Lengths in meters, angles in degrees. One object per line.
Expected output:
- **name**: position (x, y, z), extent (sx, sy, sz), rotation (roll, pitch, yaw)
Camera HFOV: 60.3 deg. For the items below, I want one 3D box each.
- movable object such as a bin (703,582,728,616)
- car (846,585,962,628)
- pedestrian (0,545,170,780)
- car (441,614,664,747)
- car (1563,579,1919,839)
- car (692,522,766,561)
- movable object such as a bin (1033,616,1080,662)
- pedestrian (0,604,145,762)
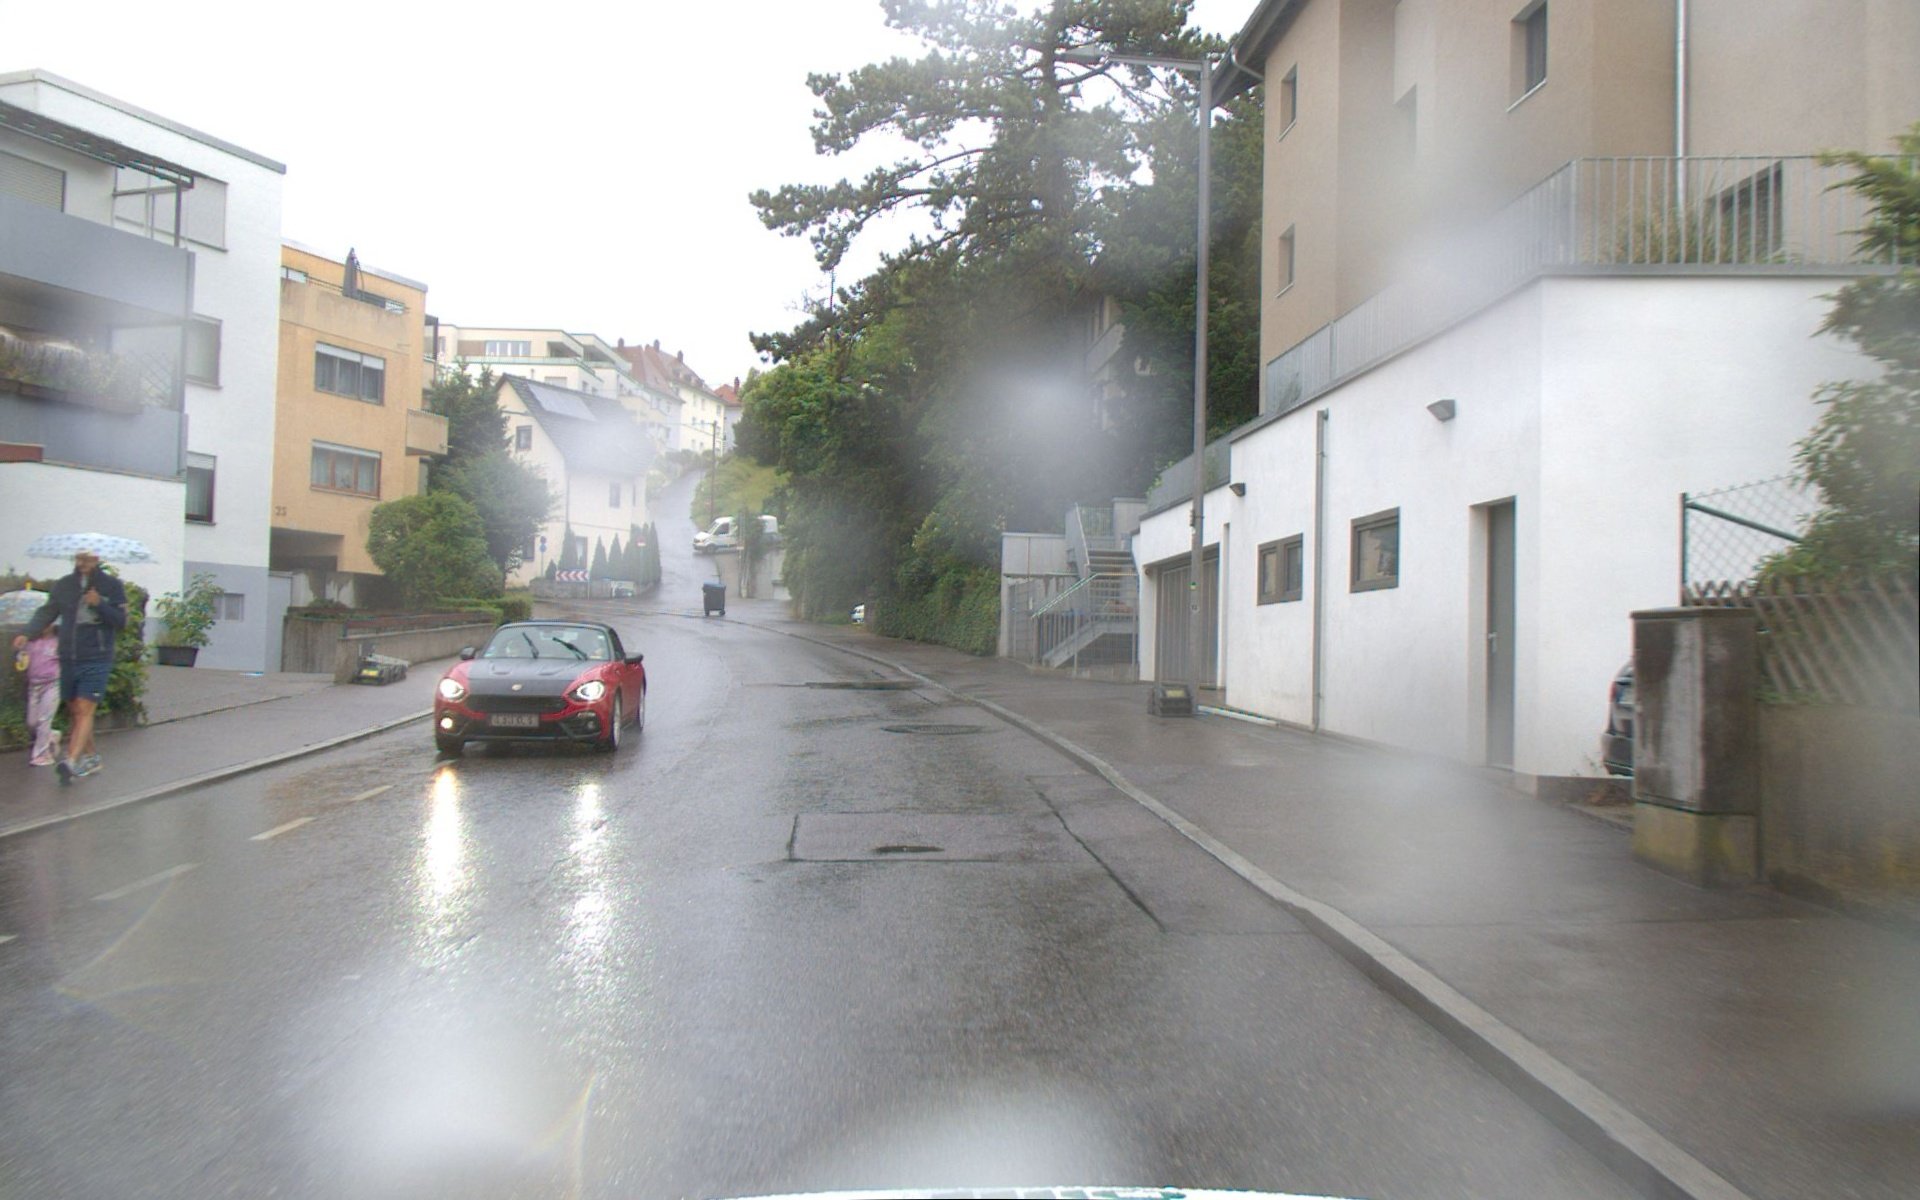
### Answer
- **movable object such as a bin**: position (-10.882, -0.040, 73.543), extent (1.061, 1.467, 1.455), rotation (2, 0, -9)
- **car**: position (-2.111, 0.231, 61.654), extent (4.071, 1.502, 1.899), rotation (-1, 1, -12)
- **pedestrian**: position (-6.564, 0.453, 12.427), extent (0.741, 1.672, 1.039), rotation (1, 0, -3)
- **car**: position (-4.086, 0.754, 17.150), extent (1.646, 1.166, 3.996), rotation (0, 0, -5)
- **car**: position (6.072, 0.640, 10.459), extent (3.902, 1.483, 2.002), rotation (1, 0, 7)
- **car**: position (-16.006, -4.049, 114.469), extent (4.862, 2.614, 1.896), rotation (-1, 1, -16)
- **movable object such as a bin**: position (2.076, 0.831, 35.579), extent (0.858, 0.957, 0.744), rotation (1, 0, -10)
- **pedestrian**: position (-7.165, 0.641, 13.261), extent (0.741, 1.200, 1.039), rotation (1, 0, -3)
